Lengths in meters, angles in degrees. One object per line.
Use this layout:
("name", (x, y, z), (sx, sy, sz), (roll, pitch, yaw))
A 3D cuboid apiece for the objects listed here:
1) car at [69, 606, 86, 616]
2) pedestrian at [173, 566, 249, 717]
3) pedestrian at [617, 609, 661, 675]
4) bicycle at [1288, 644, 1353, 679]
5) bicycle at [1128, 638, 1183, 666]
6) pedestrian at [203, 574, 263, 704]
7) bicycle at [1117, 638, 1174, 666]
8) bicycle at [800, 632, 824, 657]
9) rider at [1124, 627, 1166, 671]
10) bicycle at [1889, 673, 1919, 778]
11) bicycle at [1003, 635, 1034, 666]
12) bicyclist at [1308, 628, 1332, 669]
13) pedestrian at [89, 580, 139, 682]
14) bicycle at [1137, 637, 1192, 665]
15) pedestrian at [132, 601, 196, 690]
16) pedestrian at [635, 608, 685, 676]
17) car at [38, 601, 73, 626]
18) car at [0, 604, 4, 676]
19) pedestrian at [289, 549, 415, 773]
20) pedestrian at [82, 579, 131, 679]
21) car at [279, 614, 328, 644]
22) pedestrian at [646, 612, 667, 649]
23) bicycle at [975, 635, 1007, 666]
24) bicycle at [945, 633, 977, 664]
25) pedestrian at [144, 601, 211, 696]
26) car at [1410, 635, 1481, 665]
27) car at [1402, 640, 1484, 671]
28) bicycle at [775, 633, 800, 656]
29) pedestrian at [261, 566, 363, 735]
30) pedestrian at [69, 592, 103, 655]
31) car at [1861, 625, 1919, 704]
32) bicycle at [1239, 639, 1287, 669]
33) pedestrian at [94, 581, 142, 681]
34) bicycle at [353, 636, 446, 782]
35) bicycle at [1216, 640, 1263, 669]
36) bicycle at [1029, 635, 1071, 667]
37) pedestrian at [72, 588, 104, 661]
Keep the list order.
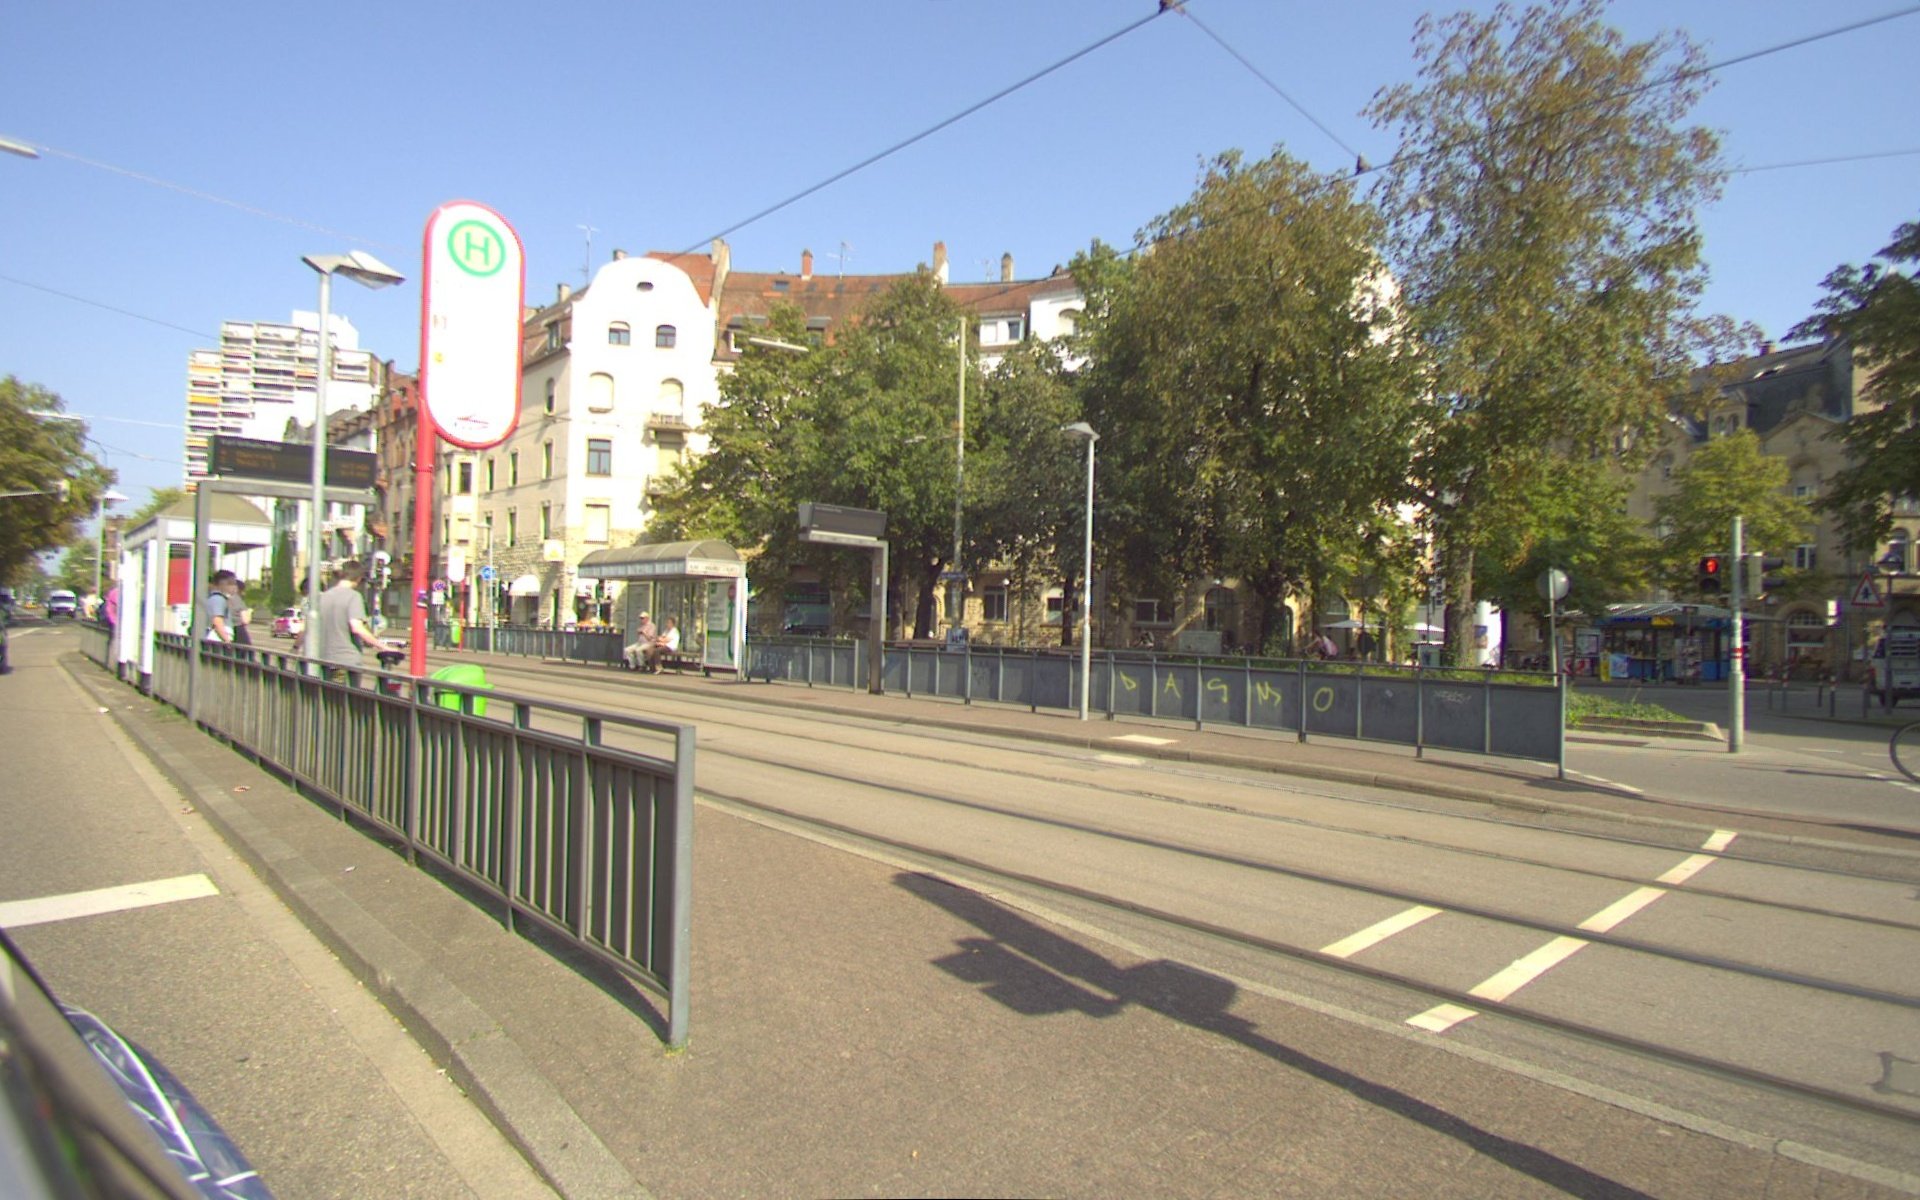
("car", (-145.705, 1.790, 167.112), (1.968, 1.662, 4.007), (3, -2, -39))
("pedestrian", (-9.342, 0.507, 12.624), (0.730, 1.820, 0.597), (0, -2, 45))
("pedestrian", (-7.356, 0.960, 23.190), (0.669, 1.467, 0.719), (3, -3, -43))
("bicycle", (12.289, 2.095, 34.502), (2.057, 1.112, 0.651), (1, -2, 21))
("bicycle", (8.298, 2.187, 43.070), (2.334, 1.112, 0.647), (0, -2, 44))
("pedestrian", (-10.185, 0.535, 14.182), (0.534, 1.774, 0.546), (0, -2, 45))
("bicycle", (7.789, 2.166, 42.516), (2.334, 1.112, 0.763), (0, -2, 44))
("bicycle", (-7.109, 2.139, 48.733), (0.688, 1.087, 2.339), (1, -1, 3))
("rider", (6.607, 1.747, 36.121), (0.982, 1.523, 1.116), (2, -1, -40))
("bicycle", (11.068, 1.364, 10.488), (0.676, 1.112, 2.072), (3, -2, -42))
("bicycle", (2.709, 2.315, 46.457), (0.860, 1.381, 2.290), (1, -2, 17))
("bicyclist", (12.293, 1.636, 34.512), (0.753, 1.370, 0.651), (1, -2, 21))
("pedestrian", (-15.866, 0.577, 18.976), (0.629, 1.862, 0.634), (3, -3, -42))
("bicycle", (8.795, 2.203, 43.644), (2.334, 1.112, 0.647), (0, -2, 44))
("pedestrian", (-12.724, 0.722, 16.174), (0.699, 1.389, 0.623), (3, -3, -44))
("pedestrian", (-6.635, 0.930, 22.383), (0.783, 1.467, 0.719), (3, -3, -43))
("car", (-85.850, 1.288, 96.125), (2.055, 2.294, 4.837), (3, -2, -37))
("car", (-20.607, 0.802, 20.488), (1.750, 1.479, 4.004), (2, -2, -43))
("pedestrian", (-5.151, 0.495, 8.574), (0.797, 1.779, 0.682), (0, -2, 45))
("pedestrian", (-16.382, 0.555, 19.432), (0.629, 1.862, 0.634), (3, -3, -42))
("car", (-33.814, 1.478, 52.056), (1.706, 1.445, 3.929), (3, -2, -38))
("pedestrian", (-15.438, 1.559, 51.431), (0.673, 1.882, 0.725), (0, -3, 42))
("bicycle", (1.457, 2.326, 46.869), (0.860, 1.381, 2.290), (1, -2, 17))
("bicycle", (0.045, 2.281, 47.640), (0.860, 1.381, 2.290), (1, -2, 17))
("pedestrian", (-11.749, 0.724, 15.200), (0.678, 1.389, 0.623), (3, -3, -44))
("car", (32.572, 3.360, 67.957), (1.965, 1.863, 4.013), (2, -2, -22))
("car", (30.436, 3.477, 63.760), (4.512, 1.805, 2.087), (2, -2, -21))
("bicycle", (-8.435, 2.172, 49.625), (0.688, 1.087, 2.339), (1, -2, 3))
("pedestrian", (-7.146, 0.542, 11.166), (0.681, 1.774, 0.759), (0, -2, 45))
("pedestrian", (-25.069, 0.680, 29.032), (0.720, 1.783, 0.739), (0, -3, -41))
("car", (26.863, 1.743, 27.215), (4.512, 2.032, 2.087), (2, -2, -21))
("bicycle", (11.831, 2.105, 39.446), (2.058, 1.112, 0.658), (2, -2, -36))
("pedestrian", (-15.385, 0.570, 18.485), (0.582, 1.777, 0.608), (3, -3, -42))
("bicycle", (-4.908, 0.889, 8.813), (0.466, 1.112, 1.741), (3, -2, -36))
("bicycle", (11.157, 2.167, 40.387), (2.058, 1.112, 0.658), (2, -2, -36))
("bicycle", (4.092, 2.305, 45.737), (0.865, 1.381, 2.277), (0, -2, 34))
("pedestrian", (-22.280, 0.630, 25.866), (0.551, 1.816, 0.677), (3, -3, -41))
